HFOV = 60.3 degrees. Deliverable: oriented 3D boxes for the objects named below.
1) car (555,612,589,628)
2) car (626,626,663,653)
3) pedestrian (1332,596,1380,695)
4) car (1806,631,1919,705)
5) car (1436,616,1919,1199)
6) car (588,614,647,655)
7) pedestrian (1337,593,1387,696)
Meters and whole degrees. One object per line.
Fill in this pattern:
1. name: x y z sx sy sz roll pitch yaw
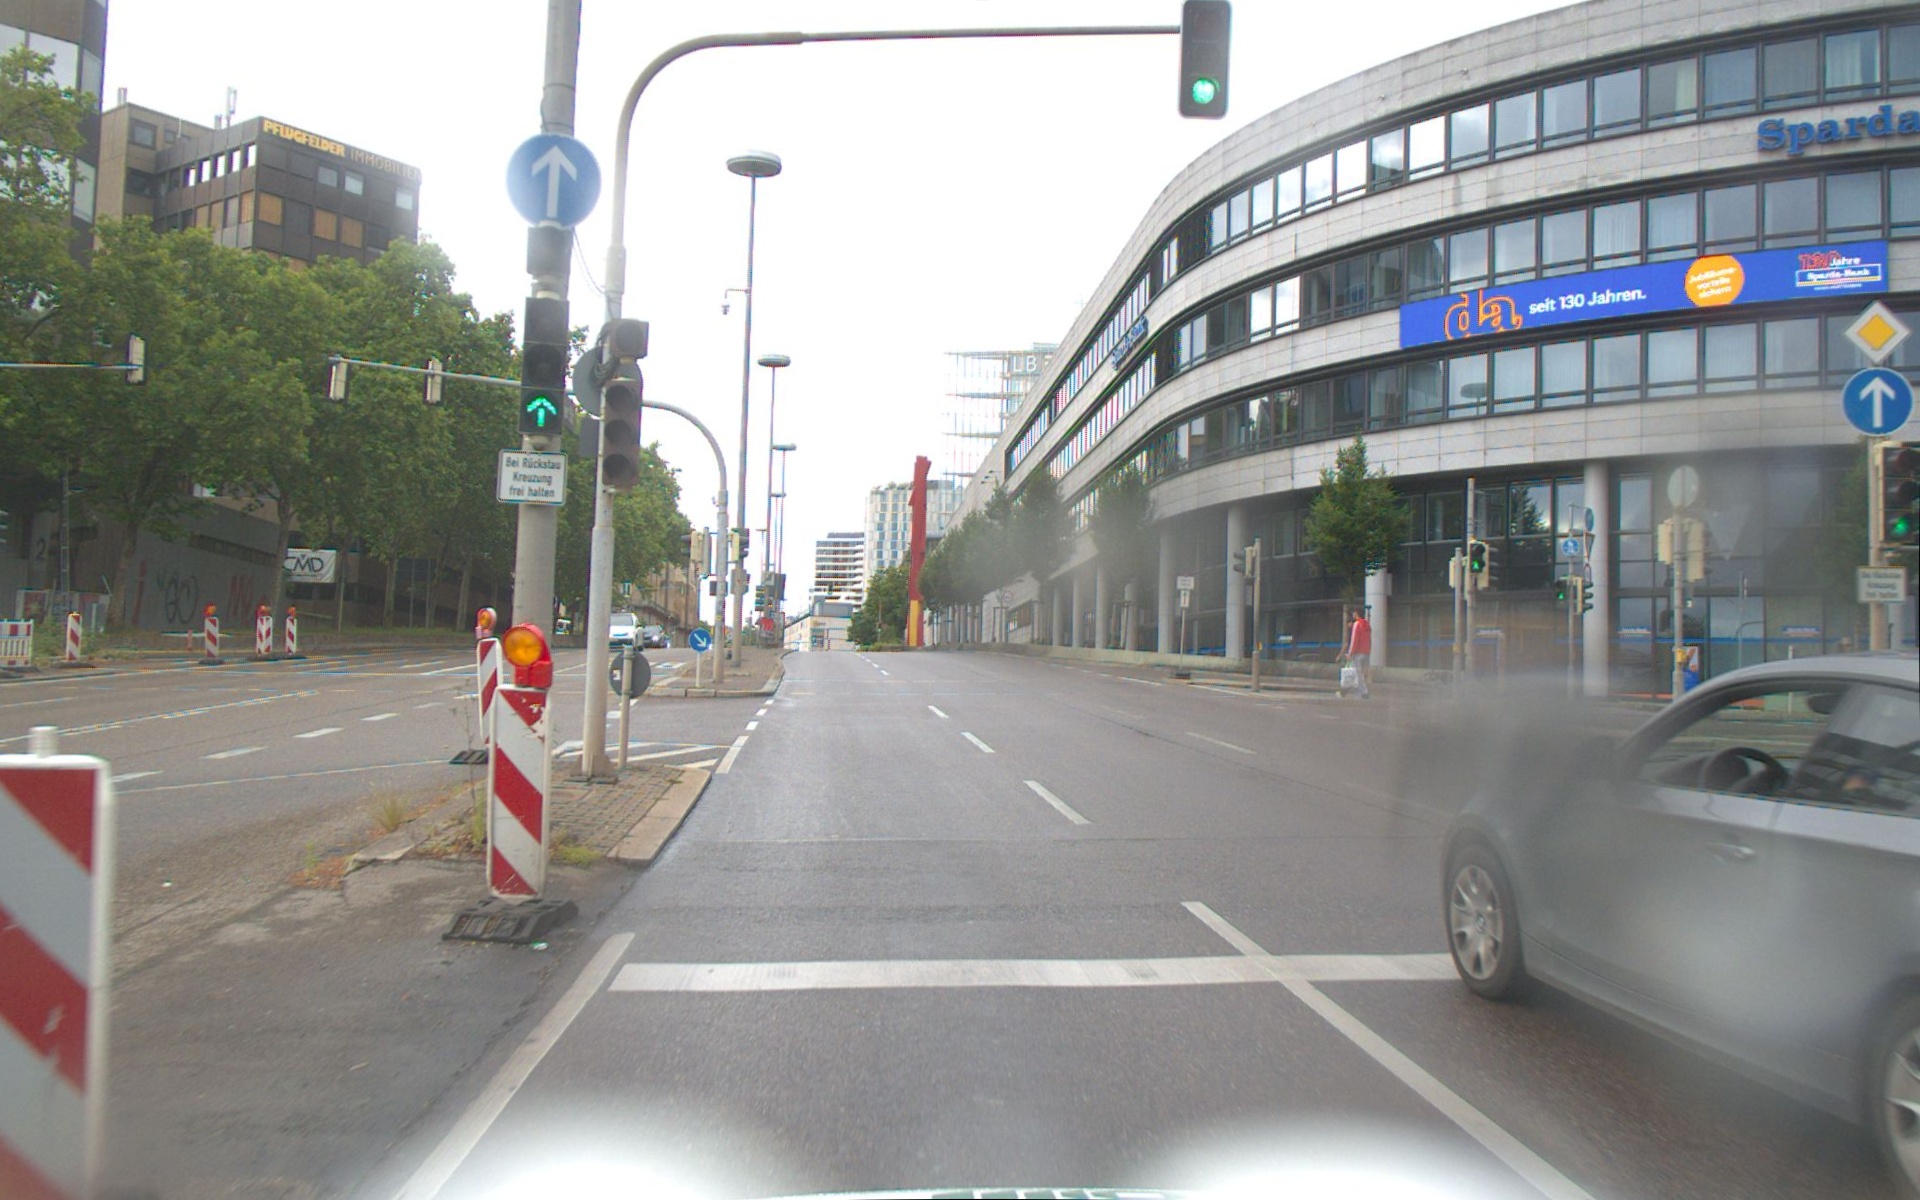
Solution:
1. car: -43.641 2.232 186.045 3.560 1.731 1.822 0 -3 -8
2. car: -18.930 2.362 99.395 1.772 1.474 4.335 0 0 -5
3. pedestrian: 7.846 0.895 32.749 0.823 1.938 0.732 0 -2 21
4. car: 20.682 1.487 34.976 4.599 1.467 1.868 1 -3 7
5. car: 3.147 0.812 5.248 1.707 1.468 3.994 1 -1 -7
6. car: -13.183 1.299 63.920 1.727 1.486 4.355 0 0 -5
7. pedestrian: 7.709 0.858 31.703 0.823 1.938 0.861 0 -3 21
